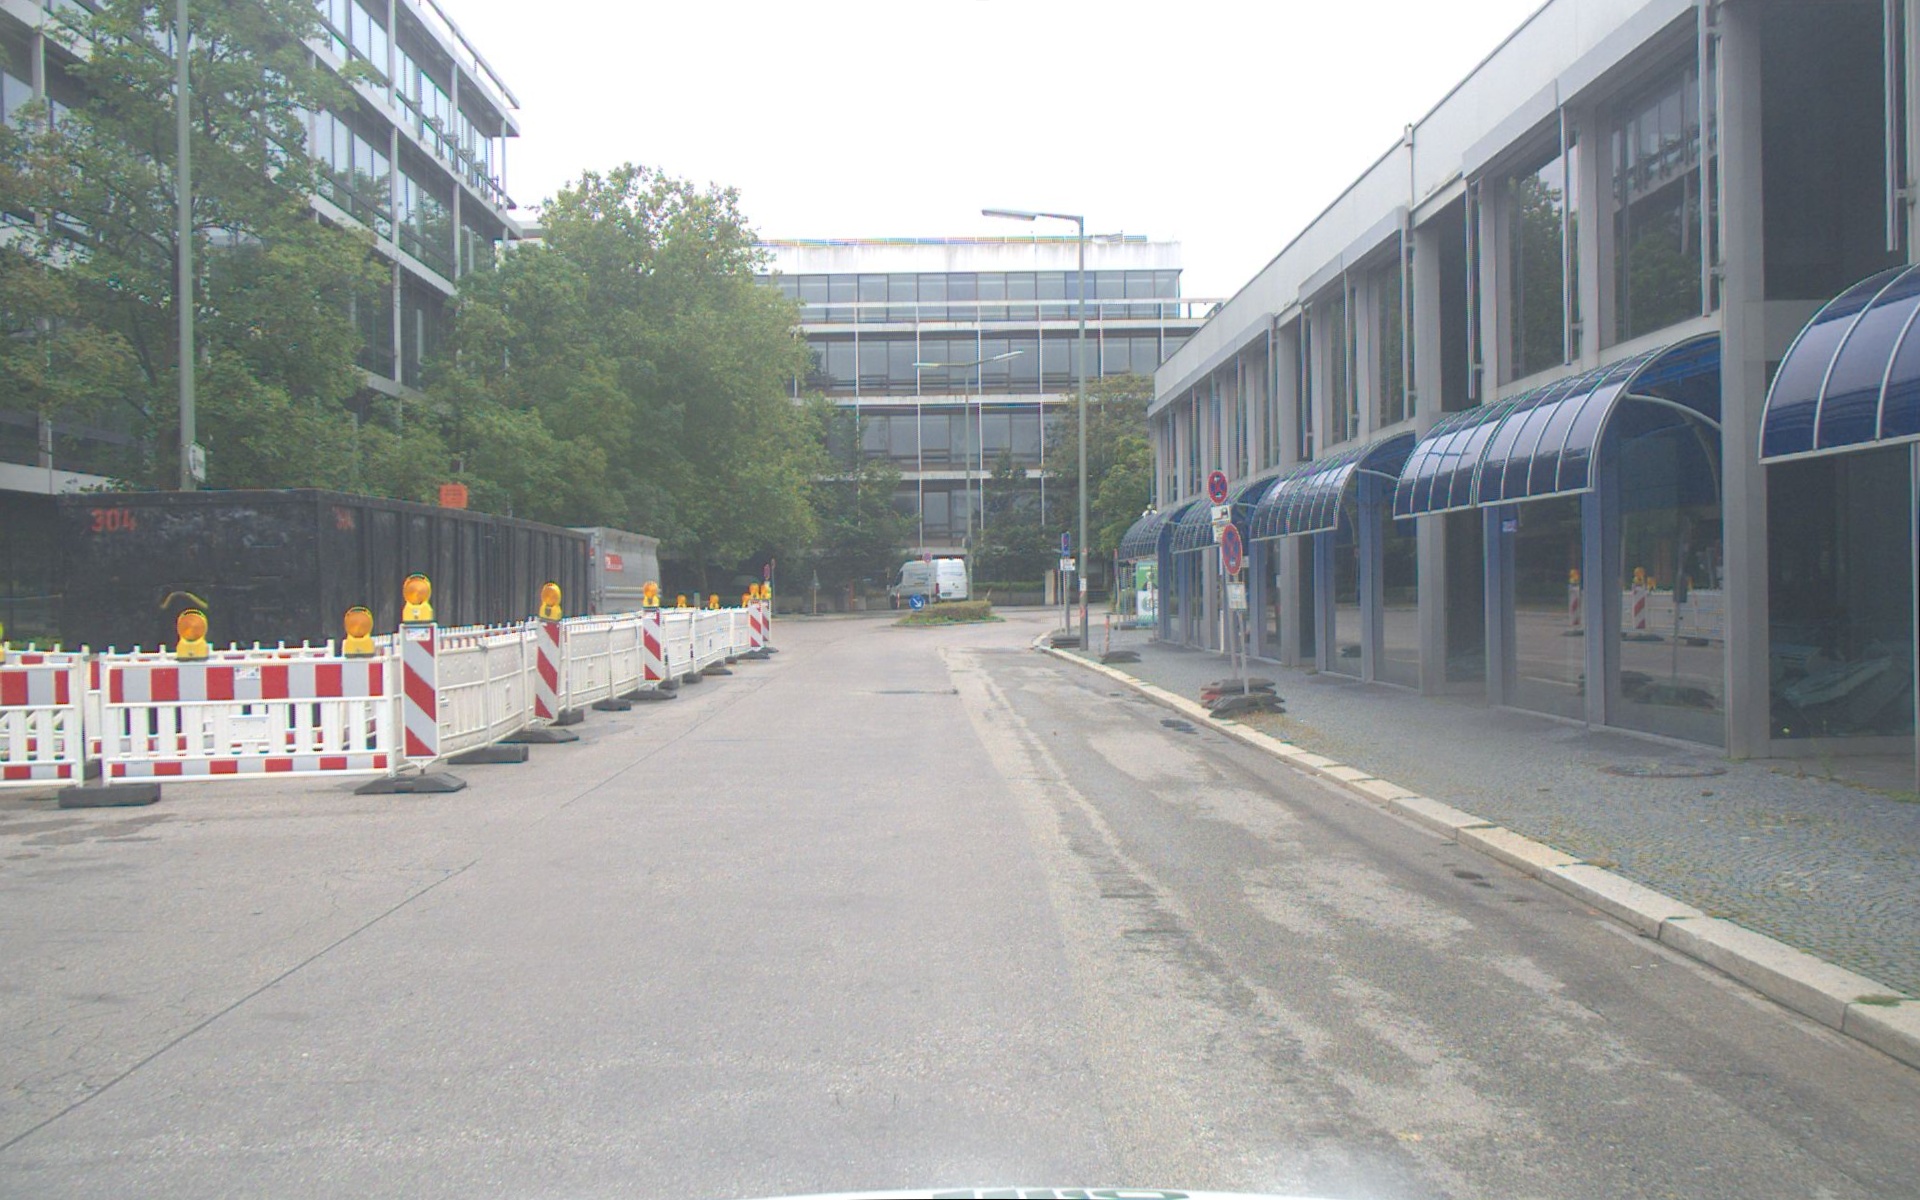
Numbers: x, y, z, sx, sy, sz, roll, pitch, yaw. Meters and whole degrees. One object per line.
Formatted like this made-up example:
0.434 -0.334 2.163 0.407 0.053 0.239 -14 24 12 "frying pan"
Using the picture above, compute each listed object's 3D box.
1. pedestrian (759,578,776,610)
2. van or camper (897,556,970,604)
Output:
-10.372 -0.320 89.048 0.731 1.706 0.678 -1 0 -21 "pedestrian"
-1.484 -1.068 90.546 2.060 2.535 5.023 -1 1 -27 "van or camper"
